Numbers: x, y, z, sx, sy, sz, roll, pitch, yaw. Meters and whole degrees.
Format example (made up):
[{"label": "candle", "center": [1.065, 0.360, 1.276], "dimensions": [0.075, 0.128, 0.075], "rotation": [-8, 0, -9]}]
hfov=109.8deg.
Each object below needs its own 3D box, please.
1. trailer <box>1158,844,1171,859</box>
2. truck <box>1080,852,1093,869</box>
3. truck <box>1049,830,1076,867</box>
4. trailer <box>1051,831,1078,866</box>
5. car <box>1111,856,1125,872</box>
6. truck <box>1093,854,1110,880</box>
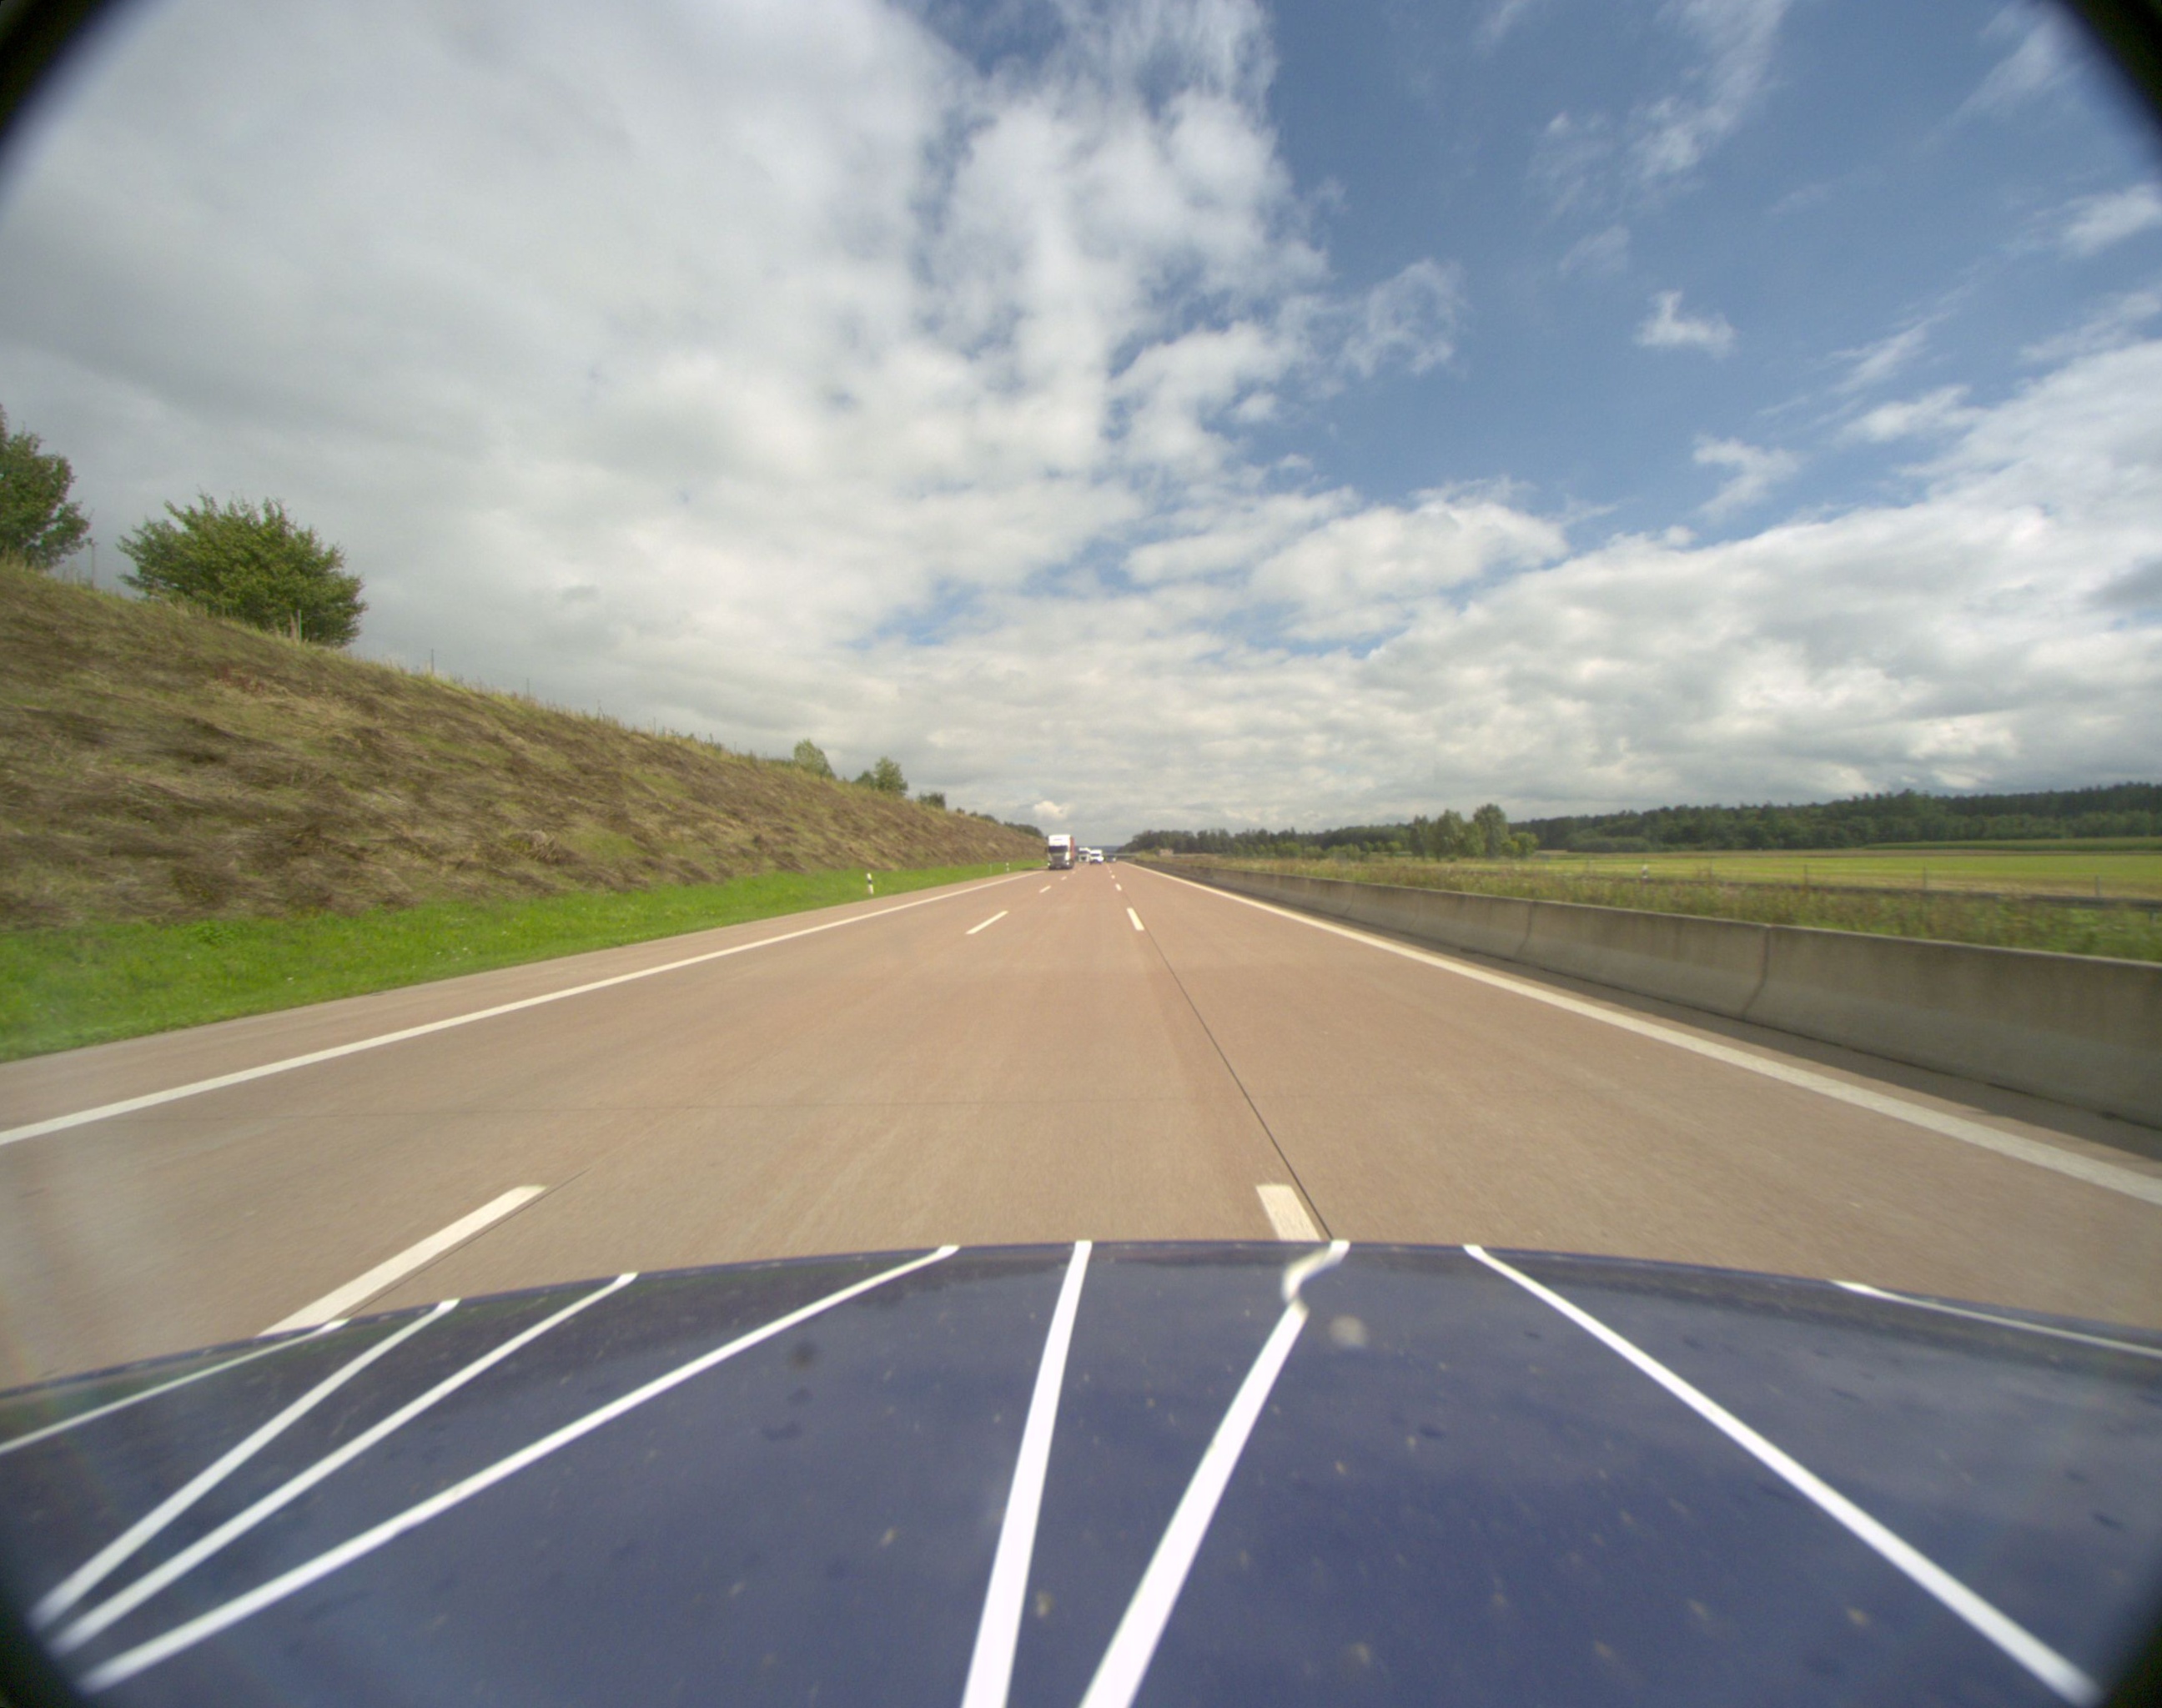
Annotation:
[{"label": "trailer", "center": [26.177, -0.781, 237.874], "dimensions": [3.029, 4.239, 12.096], "rotation": [-2, 0, 2]}, {"label": "truck", "center": [1.513, 1.665, 198.669], "dimensions": [3.107, 4.333, 11.257], "rotation": [-2, 0, 2]}, {"label": "truck", "center": [-2.154, -0.621, 89.864], "dimensions": [2.680, 4.082, 6.616], "rotation": [-1, 0, 2]}, {"label": "trailer", "center": [-1.991, -0.596, 95.570], "dimensions": [2.679, 4.069, 12.790], "rotation": [-1, 0, 2]}, {"label": "car", "center": [7.560, 2.013, 155.248], "dimensions": [2.773, 3.260, 6.393], "rotation": [-2, 0, 2]}, {"label": "truck", "center": [3.702, 2.154, 135.790], "dimensions": [2.680, 4.333, 11.809], "rotation": [-2, 0, 2]}]
